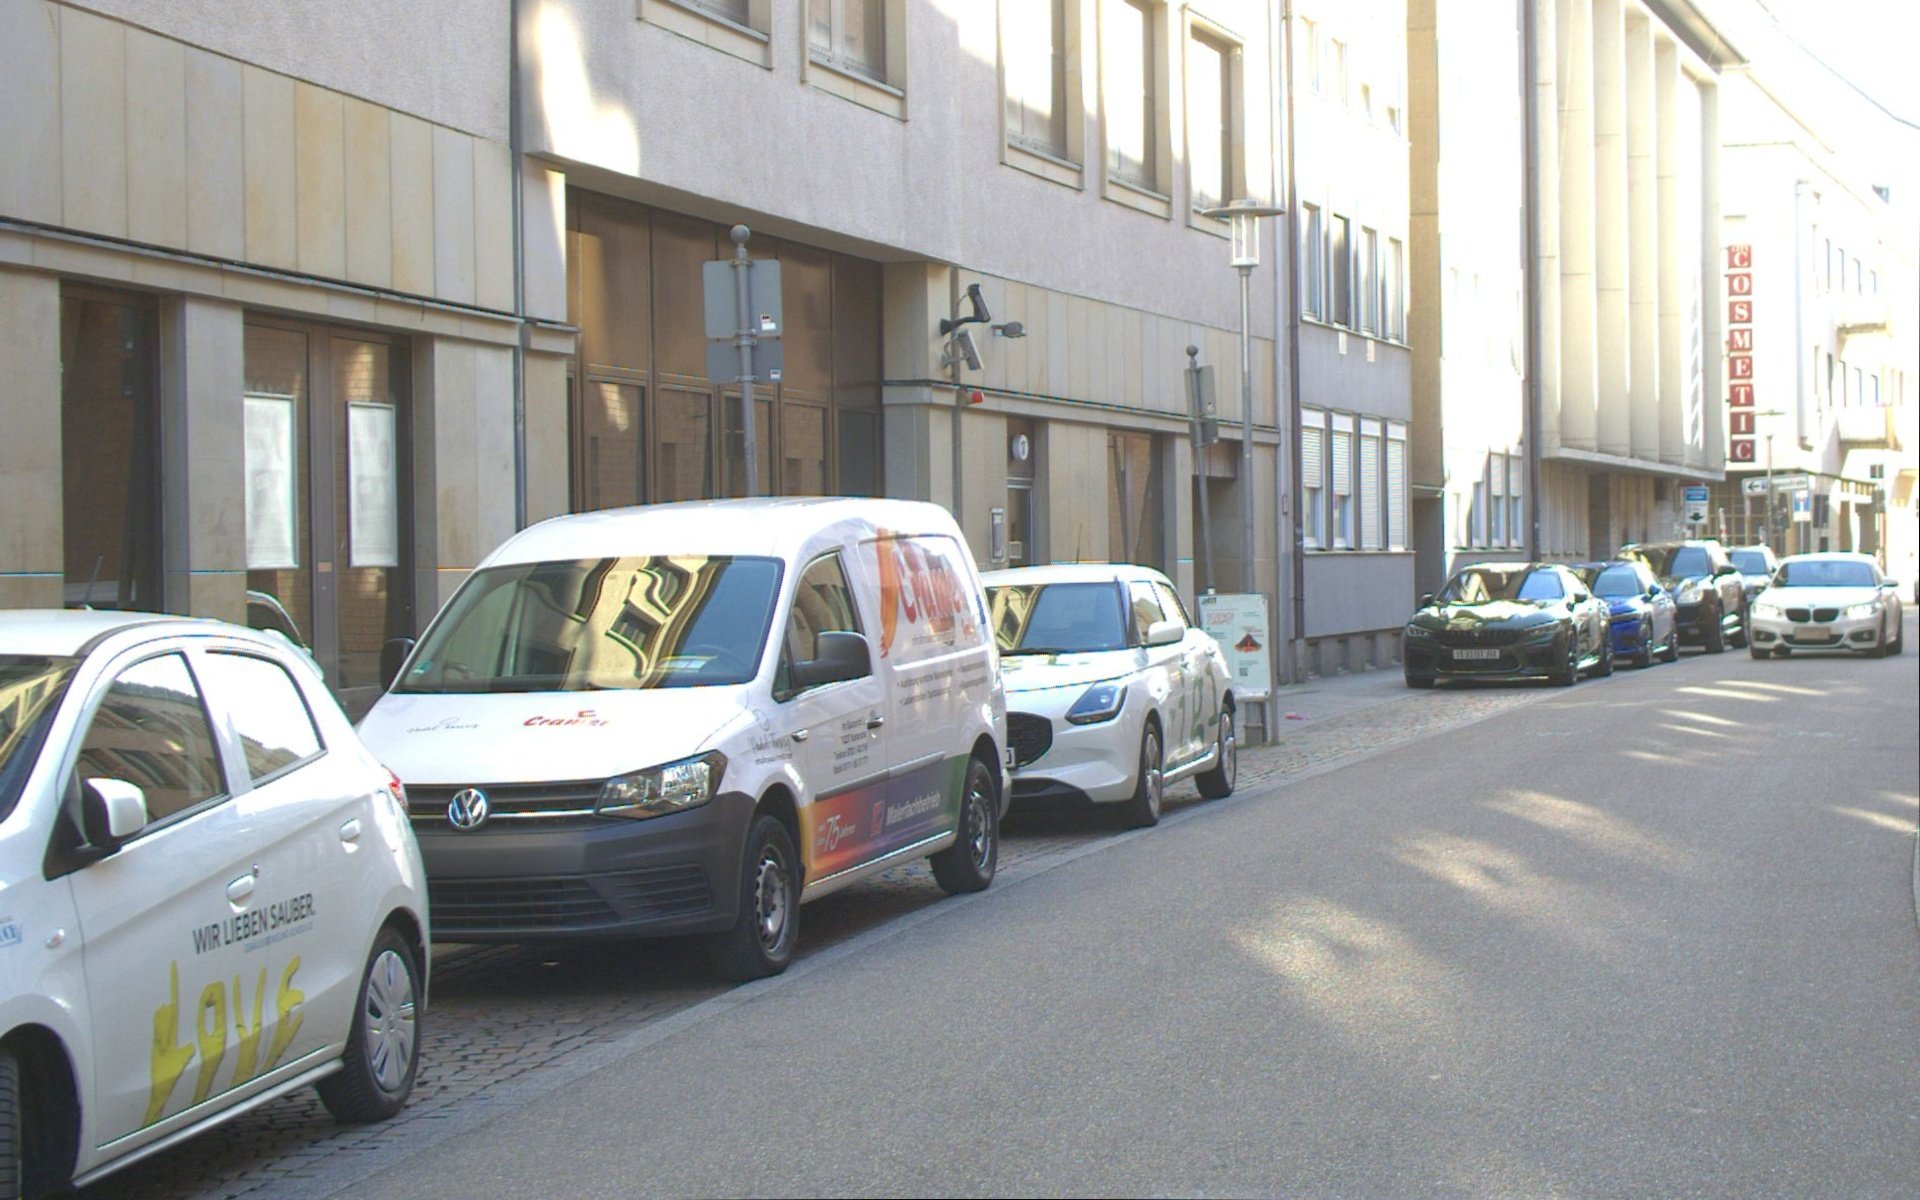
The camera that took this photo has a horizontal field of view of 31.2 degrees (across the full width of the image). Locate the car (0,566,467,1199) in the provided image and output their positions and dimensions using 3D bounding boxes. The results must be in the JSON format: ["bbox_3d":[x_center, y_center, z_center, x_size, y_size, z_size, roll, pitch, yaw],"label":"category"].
[{"bbox_3d":[-2.647,0.708,8.399,1.737,1.487,3.798,-2,1,10],"label":"car"}]

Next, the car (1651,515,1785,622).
[{"bbox_3d":[12.990,-0.558,58.731,1.891,1.736,4.387,-1,1,17],"label":"car"}]

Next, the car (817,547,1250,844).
[{"bbox_3d":[0.538,0.496,20.320,1.671,1.517,3.773,-3,0,15],"label":"car"}]

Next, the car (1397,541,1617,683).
[{"bbox_3d":[6.459,0.100,40.177,1.891,1.525,4.725,-1,1,17],"label":"car"}]

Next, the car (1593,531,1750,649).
[{"bbox_3d":[10.771,-0.187,51.862,1.891,1.670,4.550,-1,1,17],"label":"car"}]

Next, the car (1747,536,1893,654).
[{"bbox_3d":[11.836,-0.094,47.184,1.716,1.512,4.157,-1,1,17],"label":"car"}]

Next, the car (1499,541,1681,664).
[{"bbox_3d":[8.489,0.001,46.050,1.891,1.525,4.336,-1,1,17],"label":"car"}]

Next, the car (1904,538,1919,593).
[{"bbox_3d":[29.012,-1.019,101.646,1.738,1.600,3.529,1,1,21],"label":"car"}]

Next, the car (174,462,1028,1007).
[{"bbox_3d":[-1.230,0.439,14.223,1.900,1.851,4.730,-2,1,15],"label":"car"}]
